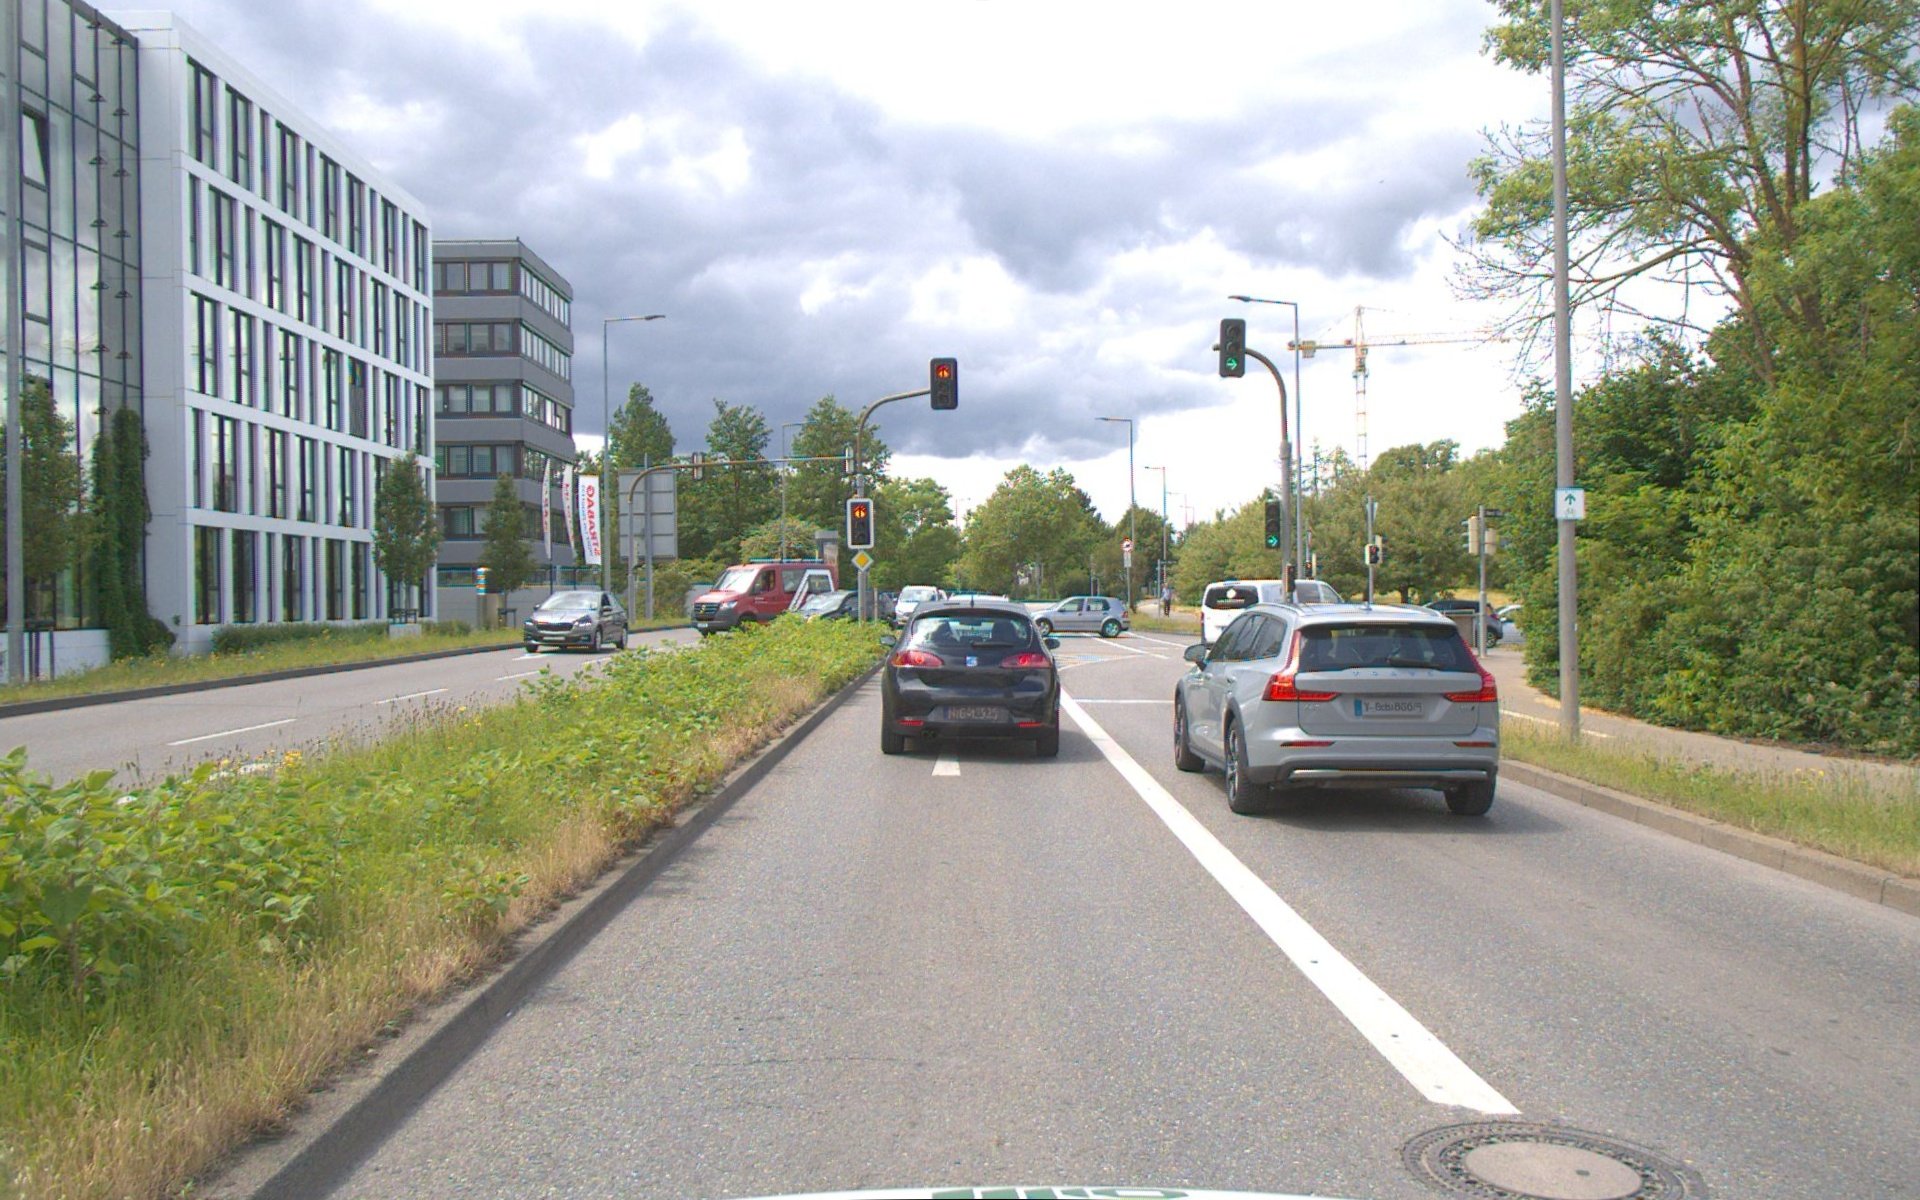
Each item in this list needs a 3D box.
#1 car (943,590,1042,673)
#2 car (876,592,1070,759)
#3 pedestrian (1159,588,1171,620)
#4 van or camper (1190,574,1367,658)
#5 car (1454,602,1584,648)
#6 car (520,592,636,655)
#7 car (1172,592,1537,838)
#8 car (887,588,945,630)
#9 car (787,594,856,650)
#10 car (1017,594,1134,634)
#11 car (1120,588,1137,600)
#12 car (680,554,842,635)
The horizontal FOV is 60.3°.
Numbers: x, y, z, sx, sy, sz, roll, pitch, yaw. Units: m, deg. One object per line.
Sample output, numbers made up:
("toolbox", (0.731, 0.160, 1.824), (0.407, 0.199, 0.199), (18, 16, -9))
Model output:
("car", (0.587, 0.570, 32.728), (1.737, 1.517, 3.581), (-1, 0, -2))
("car", (0.122, 0.677, 16.719), (1.737, 1.477, 3.582), (1, 0, 0))
("pedestrian", (11.030, 0.215, 89.016), (0.547, 1.756, 0.588), (1, 0, 1))
("van or camper", (7.793, 0.348, 40.129), (1.965, 1.892, 4.913), (0, 0, 42))
("car", (19.625, 0.863, 58.207), (3.905, 1.557, 2.000), (0, 0, 0))
("car", (-9.132, 0.533, 39.869), (1.893, 1.422, 4.000), (0, 0, -1))
("car", (2.820, 0.729, 12.862), (1.824, 1.545, 4.447), (-1, 0, 1))
("car", (-1.715, 0.329, 65.925), (1.952, 1.624, 4.002), (0, 0, 3))
("car", (-3.874, 0.586, 46.748), (1.644, 1.508, 4.000), (0, 0, 0))
("car", (4.114, 0.497, 59.223), (3.909, 1.378, 1.998), (0, 0, -6))
("car", (20.602, -0.739, 201.849), (1.951, 1.375, 4.003), (0, 0, 8))
("car", (-6.256, -0.183, 52.633), (1.963, 2.454, 5.213), (-1, 0, 40))
